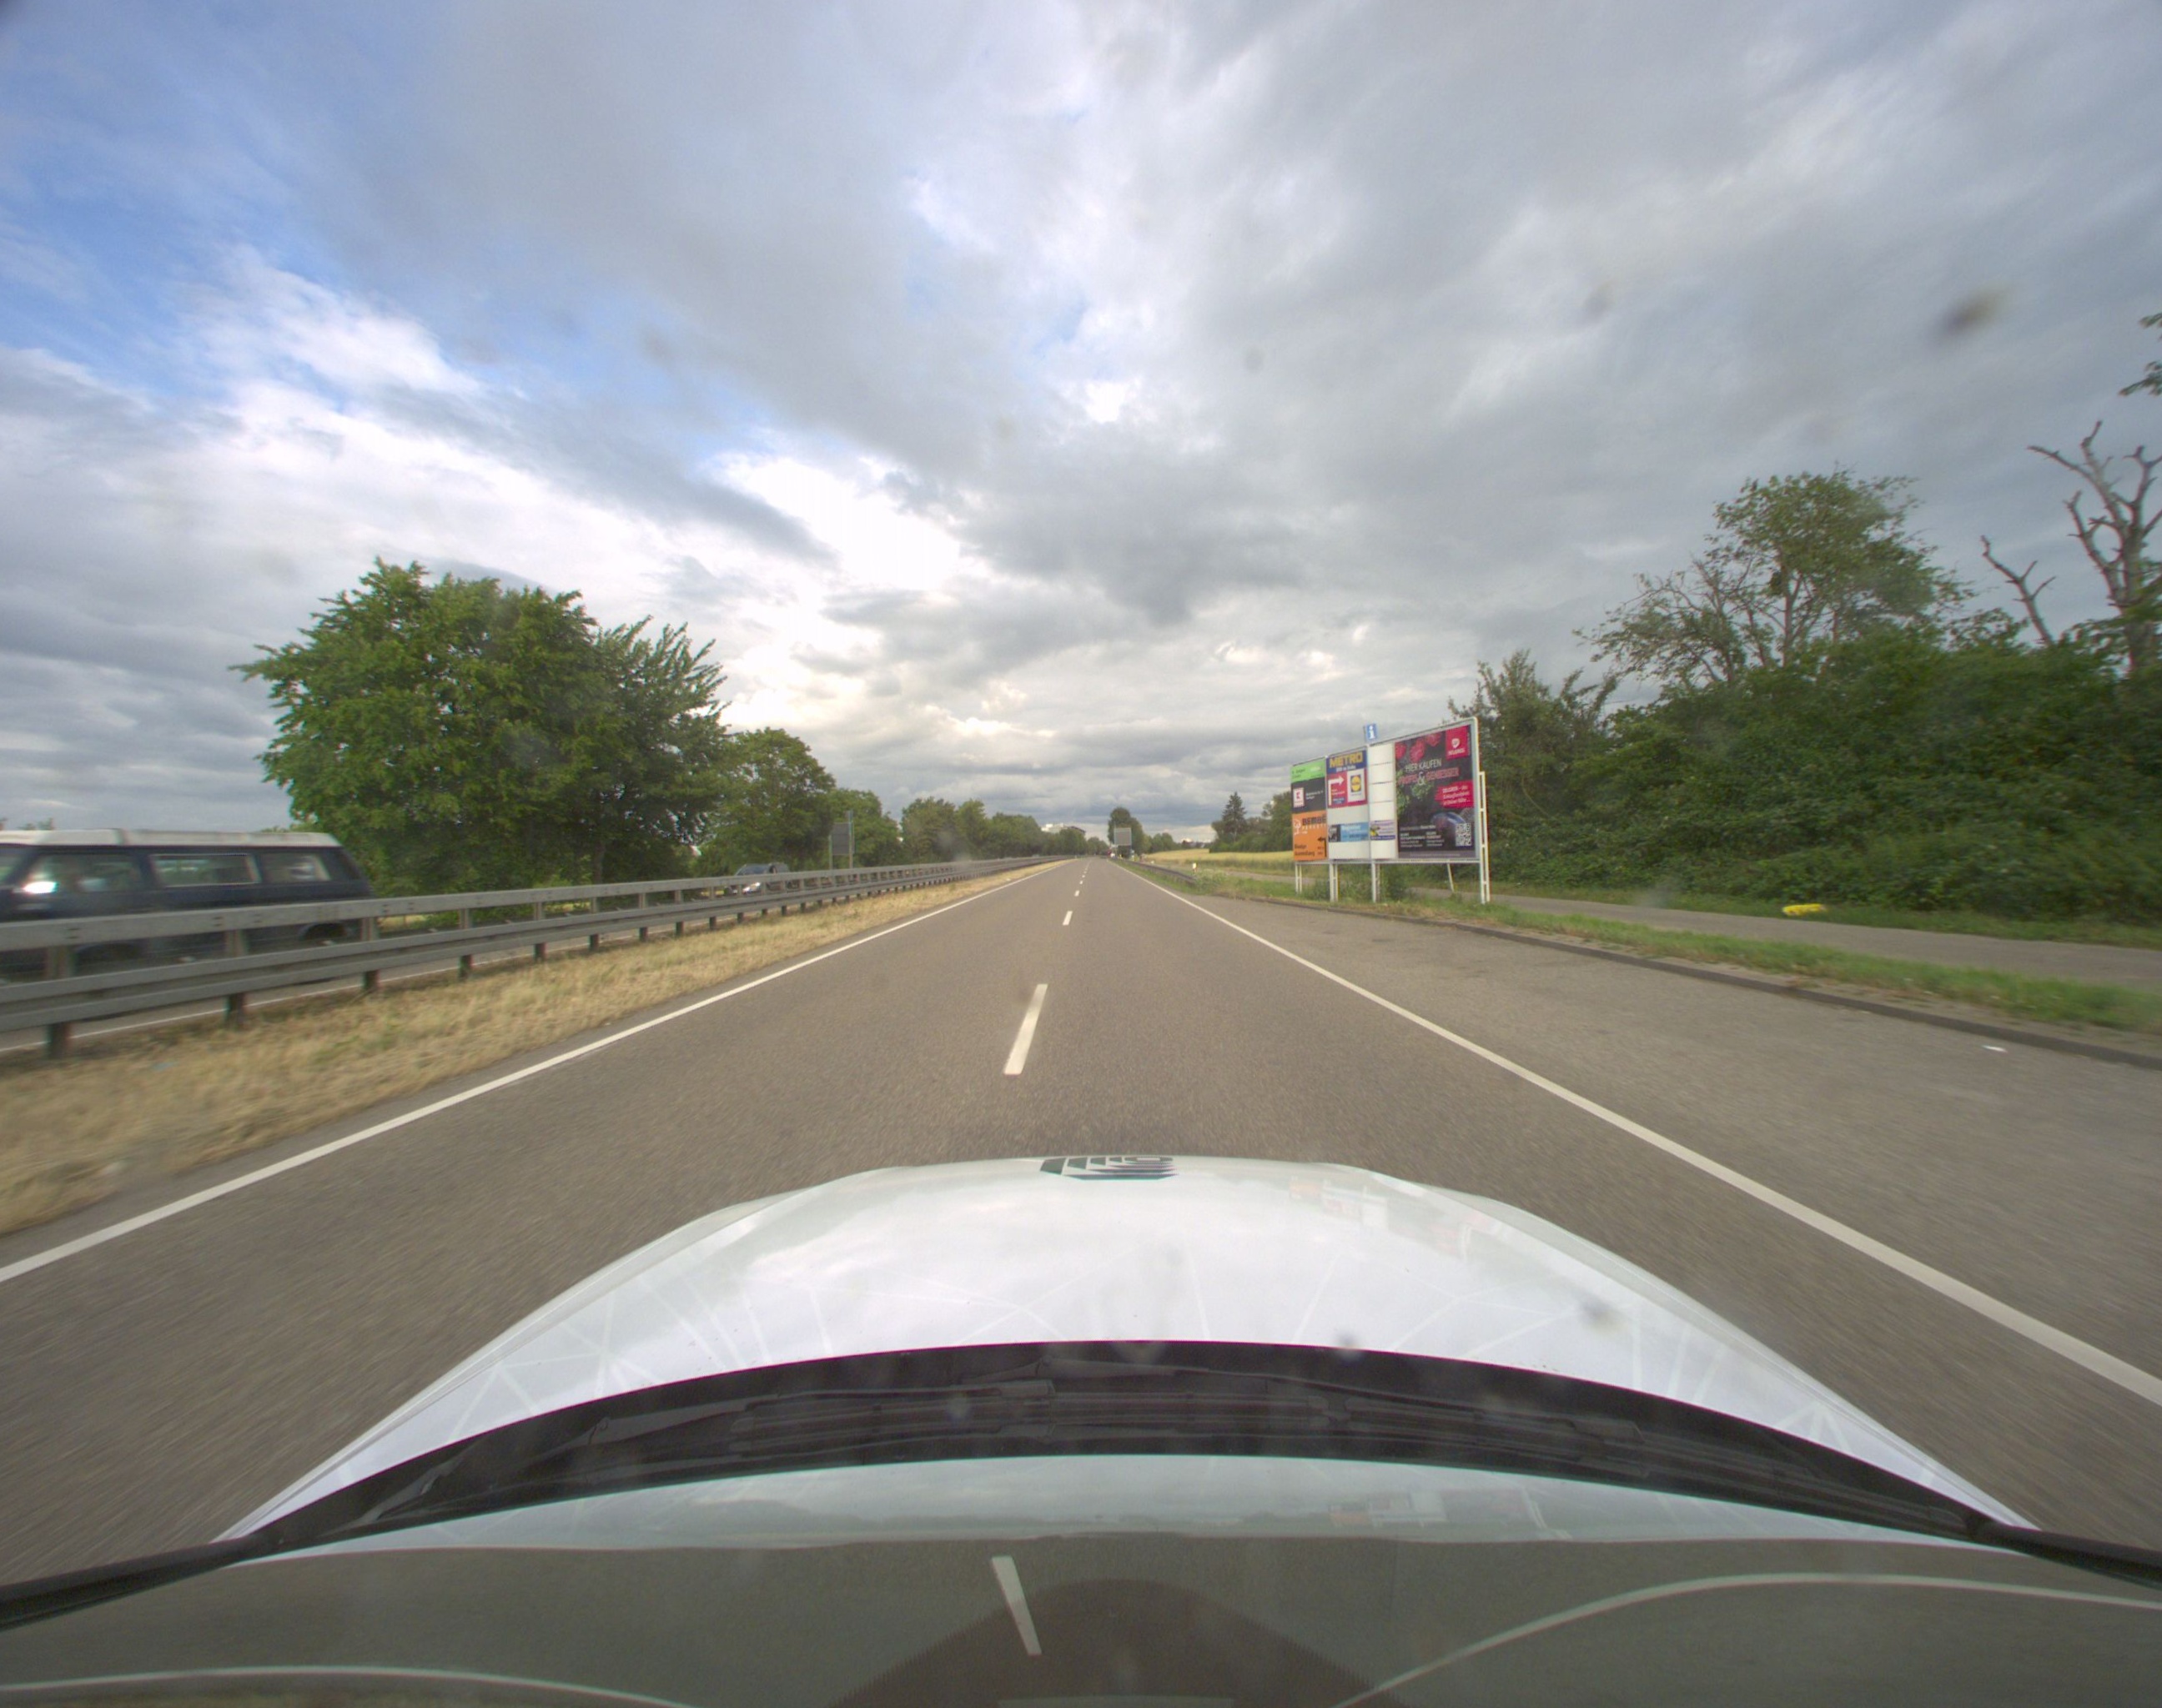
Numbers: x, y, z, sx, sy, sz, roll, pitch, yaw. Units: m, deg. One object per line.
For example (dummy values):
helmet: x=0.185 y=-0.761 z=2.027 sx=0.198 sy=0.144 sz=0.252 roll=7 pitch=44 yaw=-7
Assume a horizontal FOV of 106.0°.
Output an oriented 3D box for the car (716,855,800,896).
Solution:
car: x=-14.438 y=0.921 z=36.674 sx=1.791 sy=1.625 sz=4.485 roll=-3 pitch=0 yaw=2

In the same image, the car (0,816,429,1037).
car: x=-11.431 y=0.751 z=10.223 sx=1.986 sy=2.140 sz=5.321 roll=-3 pitch=0 yaw=2

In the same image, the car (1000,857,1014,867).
car: x=-13.186 y=1.344 z=145.114 sx=1.791 sy=1.625 sz=4.485 roll=-3 pitch=0 yaw=2
